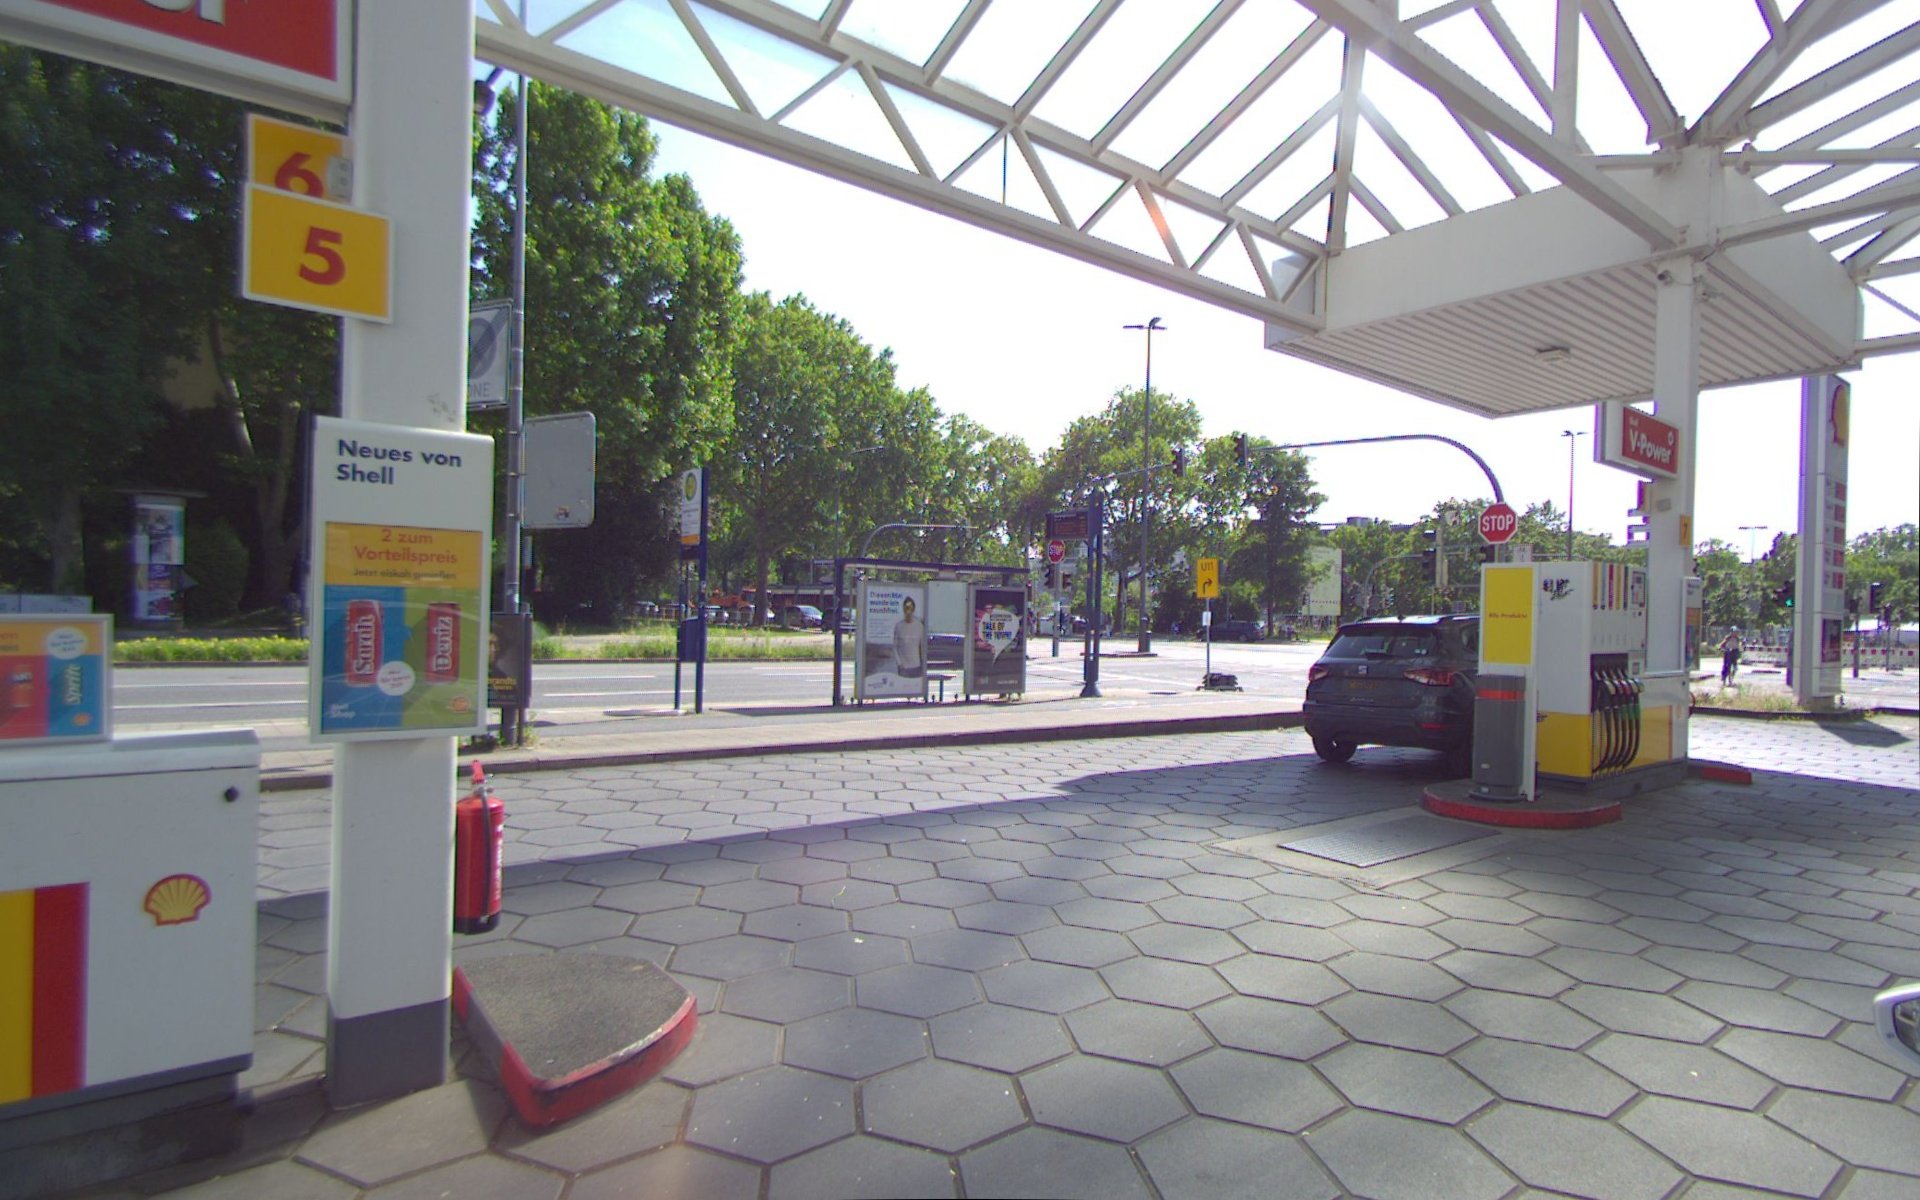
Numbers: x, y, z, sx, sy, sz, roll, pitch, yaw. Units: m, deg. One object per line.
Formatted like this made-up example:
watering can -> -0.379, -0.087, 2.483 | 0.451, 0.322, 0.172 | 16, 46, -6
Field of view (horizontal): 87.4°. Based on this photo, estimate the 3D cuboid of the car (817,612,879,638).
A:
car -> -6.962, 1.534, 62.199 | 1.856, 1.532, 3.949 | 3, -3, -43

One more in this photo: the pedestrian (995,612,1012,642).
pedestrian -> 2.487, 1.519, 56.802 | 0.780, 1.696, 0.554 | 3, -3, -41

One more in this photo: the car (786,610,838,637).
car -> -9.947, 1.580, 67.501 | 1.851, 1.711, 3.960 | 2, -3, -36

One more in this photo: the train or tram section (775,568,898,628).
train or tram section -> -10.563, -0.190, 83.088 | 2.307, 4.549, 15.755 | 2, -1, -37

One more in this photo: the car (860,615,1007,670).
car -> -0.719, 1.212, 28.827 | 3.967, 1.385, 1.667 | 2, 1, -38

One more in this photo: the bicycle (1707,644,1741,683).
bicycle -> 23.955, 1.977, 31.477 | 0.631, 1.096, 2.014 | 1, 1, 43

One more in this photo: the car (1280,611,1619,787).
car -> 5.351, 0.957, 10.787 | 3.965, 1.552, 1.730 | 3, -2, -38

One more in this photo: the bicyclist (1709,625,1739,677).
bicyclist -> 24.025, 1.590, 31.564 | 0.630, 1.601, 1.167 | 2, 0, 42

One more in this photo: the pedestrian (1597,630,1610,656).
pedestrian -> 38.111, 2.527, 59.488 | 0.555, 1.488, 0.513 | 1, 0, 28

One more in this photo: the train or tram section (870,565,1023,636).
train or tram section -> -1.339, 0.013, 70.901 | 2.307, 4.549, 14.784 | 2, -1, -37

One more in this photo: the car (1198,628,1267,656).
car -> 18.146, 2.781, 66.990 | 4.133, 1.829, 1.998 | 0, -2, 27

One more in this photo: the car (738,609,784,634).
car -> -14.593, 1.588, 73.472 | 1.851, 1.711, 3.960 | 2, -3, -36

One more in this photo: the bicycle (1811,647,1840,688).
bicycle -> 26.194, 2.032, 30.409 | 0.516, 1.096, 1.860 | 2, 1, 37

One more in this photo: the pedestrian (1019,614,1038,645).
pedestrian -> 4.004, 1.733, 58.710 | 0.677, 1.746, 0.866 | -1, -3, 41

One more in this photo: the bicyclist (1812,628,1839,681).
bicyclist -> 26.271, 1.634, 30.489 | 0.526, 1.564, 0.862 | 2, 0, 38

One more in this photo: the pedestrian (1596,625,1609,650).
pedestrian -> 37.561, 2.189, 58.732 | 0.555, 1.488, 0.513 | 1, 0, 28
